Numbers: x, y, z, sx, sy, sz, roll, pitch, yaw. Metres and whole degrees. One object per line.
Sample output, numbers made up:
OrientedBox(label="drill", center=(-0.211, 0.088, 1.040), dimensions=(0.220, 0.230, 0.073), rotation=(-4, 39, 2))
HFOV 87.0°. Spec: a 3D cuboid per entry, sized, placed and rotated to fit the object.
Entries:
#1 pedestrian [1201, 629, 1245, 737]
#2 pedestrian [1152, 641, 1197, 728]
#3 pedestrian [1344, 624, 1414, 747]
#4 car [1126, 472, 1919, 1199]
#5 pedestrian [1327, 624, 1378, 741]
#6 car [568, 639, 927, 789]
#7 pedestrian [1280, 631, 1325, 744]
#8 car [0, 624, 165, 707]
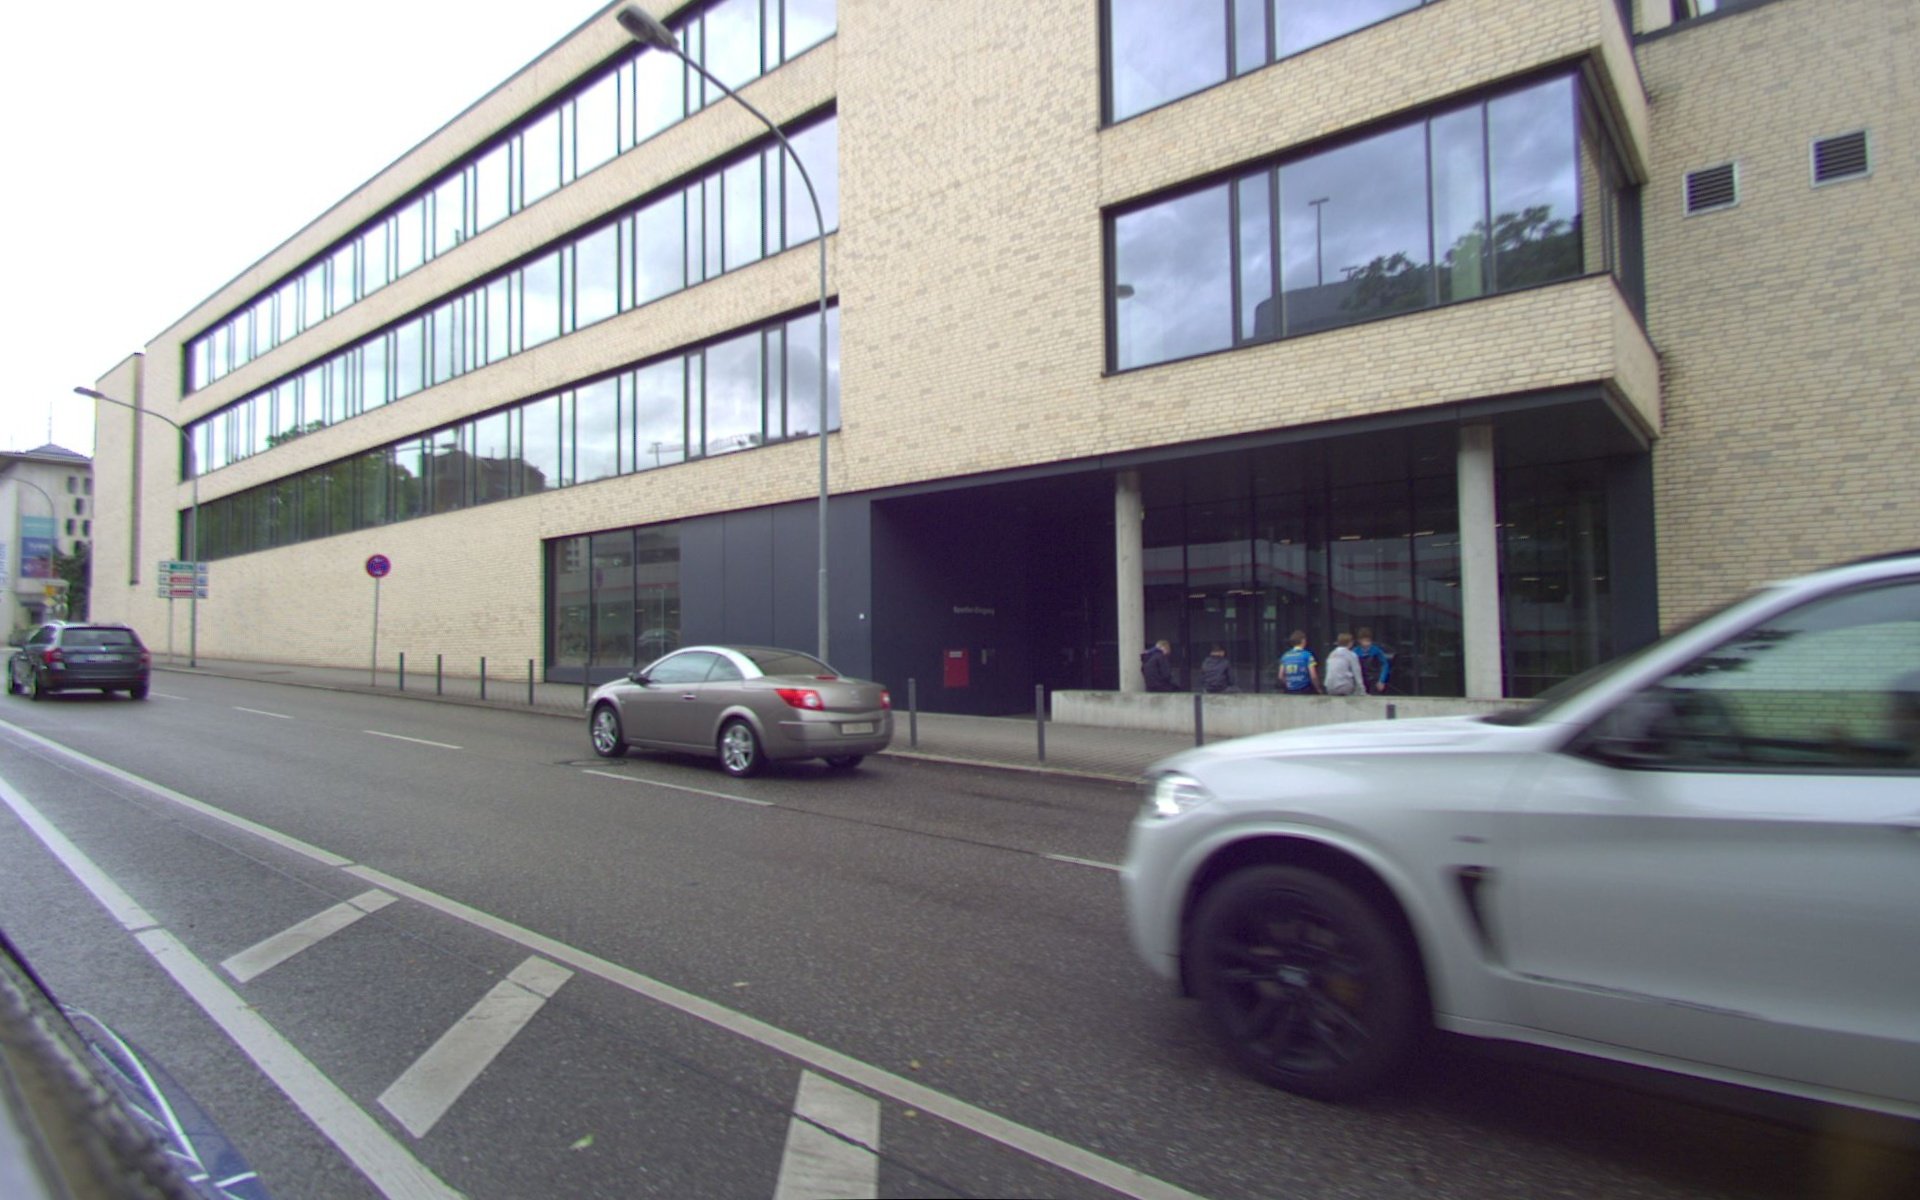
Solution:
OrientedBox(label="pedestrian", center=(3.737, 1.166, 14.385), dimensions=(0.462, 1.486, 0.445), rotation=(-1, 0, 36))
OrientedBox(label="pedestrian", center=(3.165, 1.235, 14.936), dimensions=(0.422, 1.224, 0.542), rotation=(-1, 0, 43))
OrientedBox(label="pedestrian", center=(6.132, 1.231, 14.828), dimensions=(0.626, 1.727, 0.707), rotation=(-1, 0, -17))
OrientedBox(label="car", center=(2.928, 0.679, 2.735), dimensions=(4.569, 1.825, 1.872), rotation=(-1, -4, 39))
OrientedBox(label="pedestrian", center=(5.159, 1.060, 13.296), dimensions=(0.527, 1.486, 0.437), rotation=(-1, 0, 36))
OrientedBox(label="car", center=(-2.575, 1.200, 11.753), dimensions=(4.225, 1.399, 1.811), rotation=(-1, -4, 39))
OrientedBox(label="pedestrian", center=(4.676, 1.171, 13.813), dimensions=(0.462, 1.486, 0.445), rotation=(-1, 0, 36))
OrientedBox(label="car", center=(-17.642, 1.255, 20.194), dimensions=(4.283, 1.473, 1.794), rotation=(-1, -4, 39))
